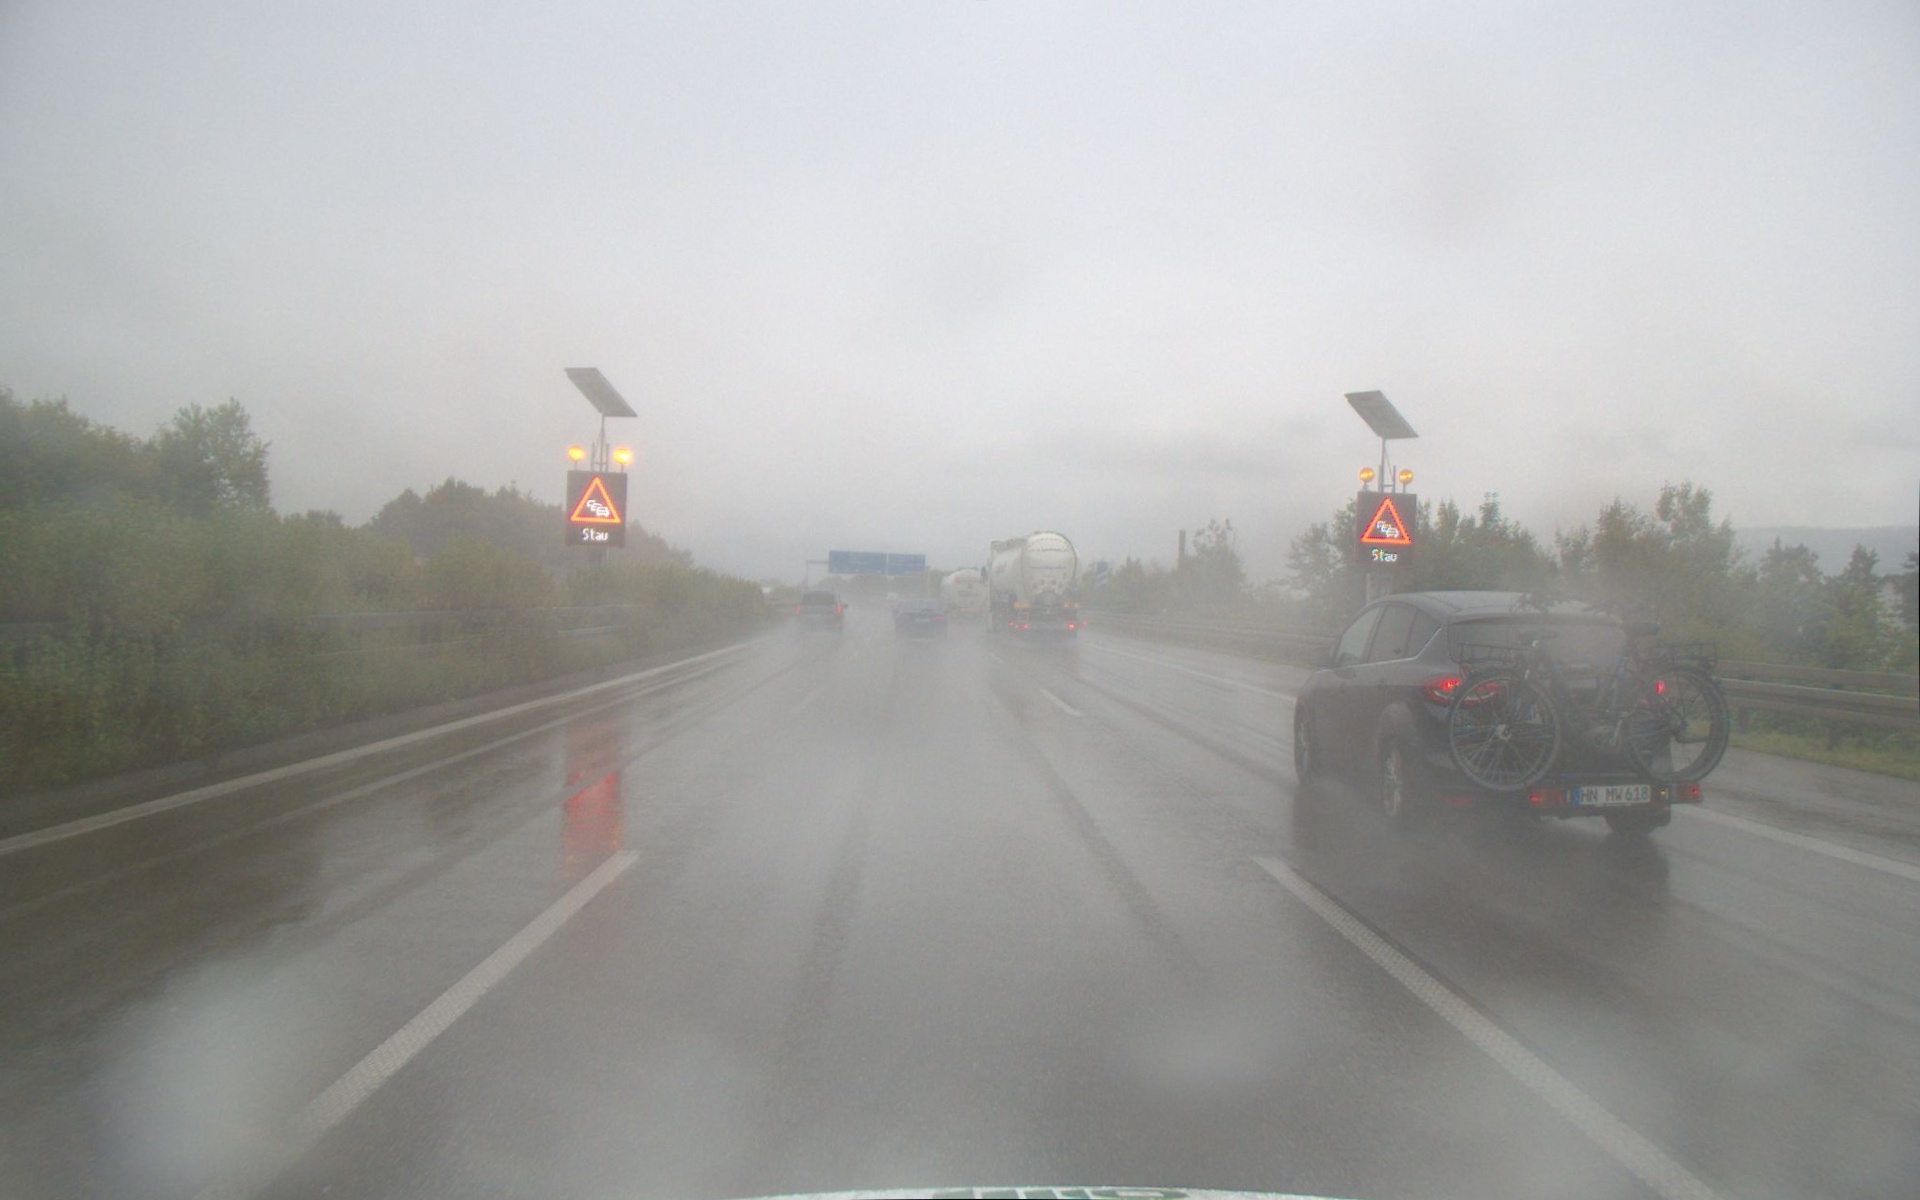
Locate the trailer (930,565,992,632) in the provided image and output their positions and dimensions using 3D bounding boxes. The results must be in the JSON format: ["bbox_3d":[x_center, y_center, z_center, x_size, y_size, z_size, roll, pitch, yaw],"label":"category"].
[{"bbox_3d":[0.008,-0.129,104.809,2.947,3.915,8.613,2,0,-6],"label":"trailer"}]

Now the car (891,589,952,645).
[{"bbox_3d":[-1.267,0.536,55.820,1.938,1.787,4.481,1,0,-1],"label":"car"}]

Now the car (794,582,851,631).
[{"bbox_3d":[-5.272,0.231,63.853,1.886,1.771,4.403,1,0,-1],"label":"car"}]

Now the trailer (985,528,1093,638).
[{"bbox_3d":[2.805,-0.609,62.459,3.124,3.734,11.662,1,0,-2],"label":"trailer"}]

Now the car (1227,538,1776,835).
[{"bbox_3d":[3.756,0.517,12.921,2.407,1.776,5.719,1,0,0],"label":"car"}]
